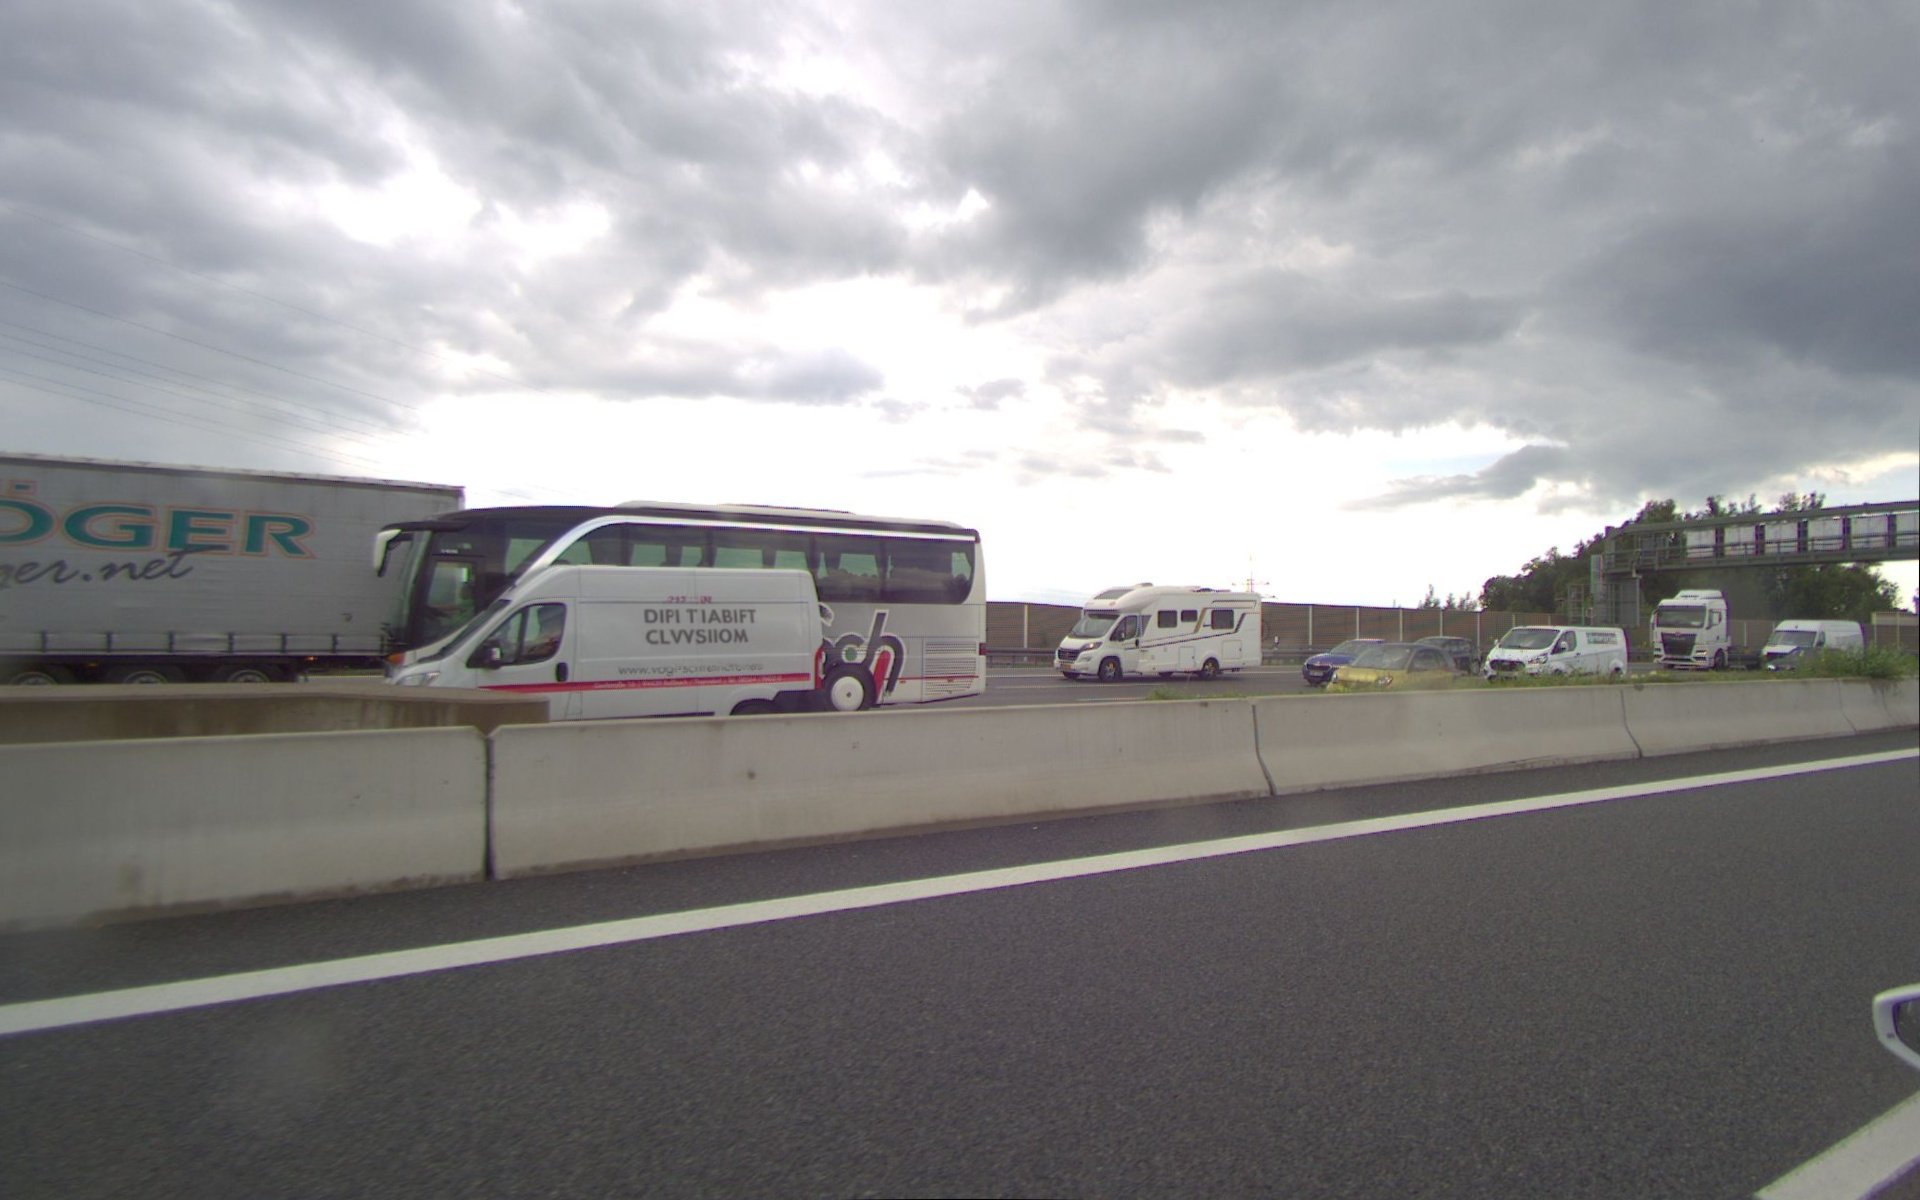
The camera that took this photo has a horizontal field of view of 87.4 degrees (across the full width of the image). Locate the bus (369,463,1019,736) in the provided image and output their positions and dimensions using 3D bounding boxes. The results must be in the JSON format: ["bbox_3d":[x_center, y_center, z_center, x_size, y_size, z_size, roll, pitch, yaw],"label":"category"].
[{"bbox_3d":[-4.093,0.154,17.471,10.508,3.728,2.642,2,-1,-30],"label":"bus"}]

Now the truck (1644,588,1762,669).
[{"bbox_3d":[38.060,1.472,51.435,5.978,3.939,2.740,1,-1,-30],"label":"truck"}]

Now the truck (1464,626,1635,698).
[{"bbox_3d":[18.244,1.879,31.018,5.481,2.026,2.232,2,-2,-31],"label":"truck"}]

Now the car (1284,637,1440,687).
[{"bbox_3d":[12.625,1.912,31.462,4.886,1.404,1.955,2,-2,-30],"label":"car"}]

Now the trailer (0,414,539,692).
[{"bbox_3d":[-14.439,-0.688,15.795,14.134,4.014,2.871,2,0,-31],"label":"trailer"}]

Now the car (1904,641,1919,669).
[{"bbox_3d":[55.837,3.158,57.323,3.853,1.515,1.808,2,-2,-30],"label":"car"}]

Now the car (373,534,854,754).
[{"bbox_3d":[-4.429,0.526,13.221,5.645,2.383,2.125,1,0,-31],"label":"car"}]

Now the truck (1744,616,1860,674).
[{"bbox_3d":[40.797,2.175,48.611,6.481,2.638,2.233,2,-1,-30],"label":"truck"}]

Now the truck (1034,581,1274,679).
[{"bbox_3d":[6.332,1.011,32.321,7.741,2.851,2.679,2,-2,-30],"label":"truck"}]

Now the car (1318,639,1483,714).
[{"bbox_3d":[9.252,1.550,21.057,3.291,1.406,1.605,2,-1,-32],"label":"car"}]

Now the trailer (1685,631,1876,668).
[{"bbox_3d":[46.084,2.725,56.065,16.155,1.853,2.740,2,-1,-30],"label":"trailer"}]

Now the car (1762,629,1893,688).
[{"bbox_3d":[33.997,2.271,39.351,5.475,2.142,2.233,2,-2,-30],"label":"car"}]

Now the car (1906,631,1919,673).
[{"bbox_3d":[49.687,2.594,49.778,6.120,2.078,2.438,2,-1,-30],"label":"car"}]

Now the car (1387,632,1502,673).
[{"bbox_3d":[19.258,2.081,39.873,4.716,1.507,1.799,2,-2,-30],"label":"car"}]

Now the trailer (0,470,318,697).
[{"bbox_3d":[-19.240,-0.331,17.959,12.820,3.985,3.015,2,-1,-30],"label":"trailer"}]
